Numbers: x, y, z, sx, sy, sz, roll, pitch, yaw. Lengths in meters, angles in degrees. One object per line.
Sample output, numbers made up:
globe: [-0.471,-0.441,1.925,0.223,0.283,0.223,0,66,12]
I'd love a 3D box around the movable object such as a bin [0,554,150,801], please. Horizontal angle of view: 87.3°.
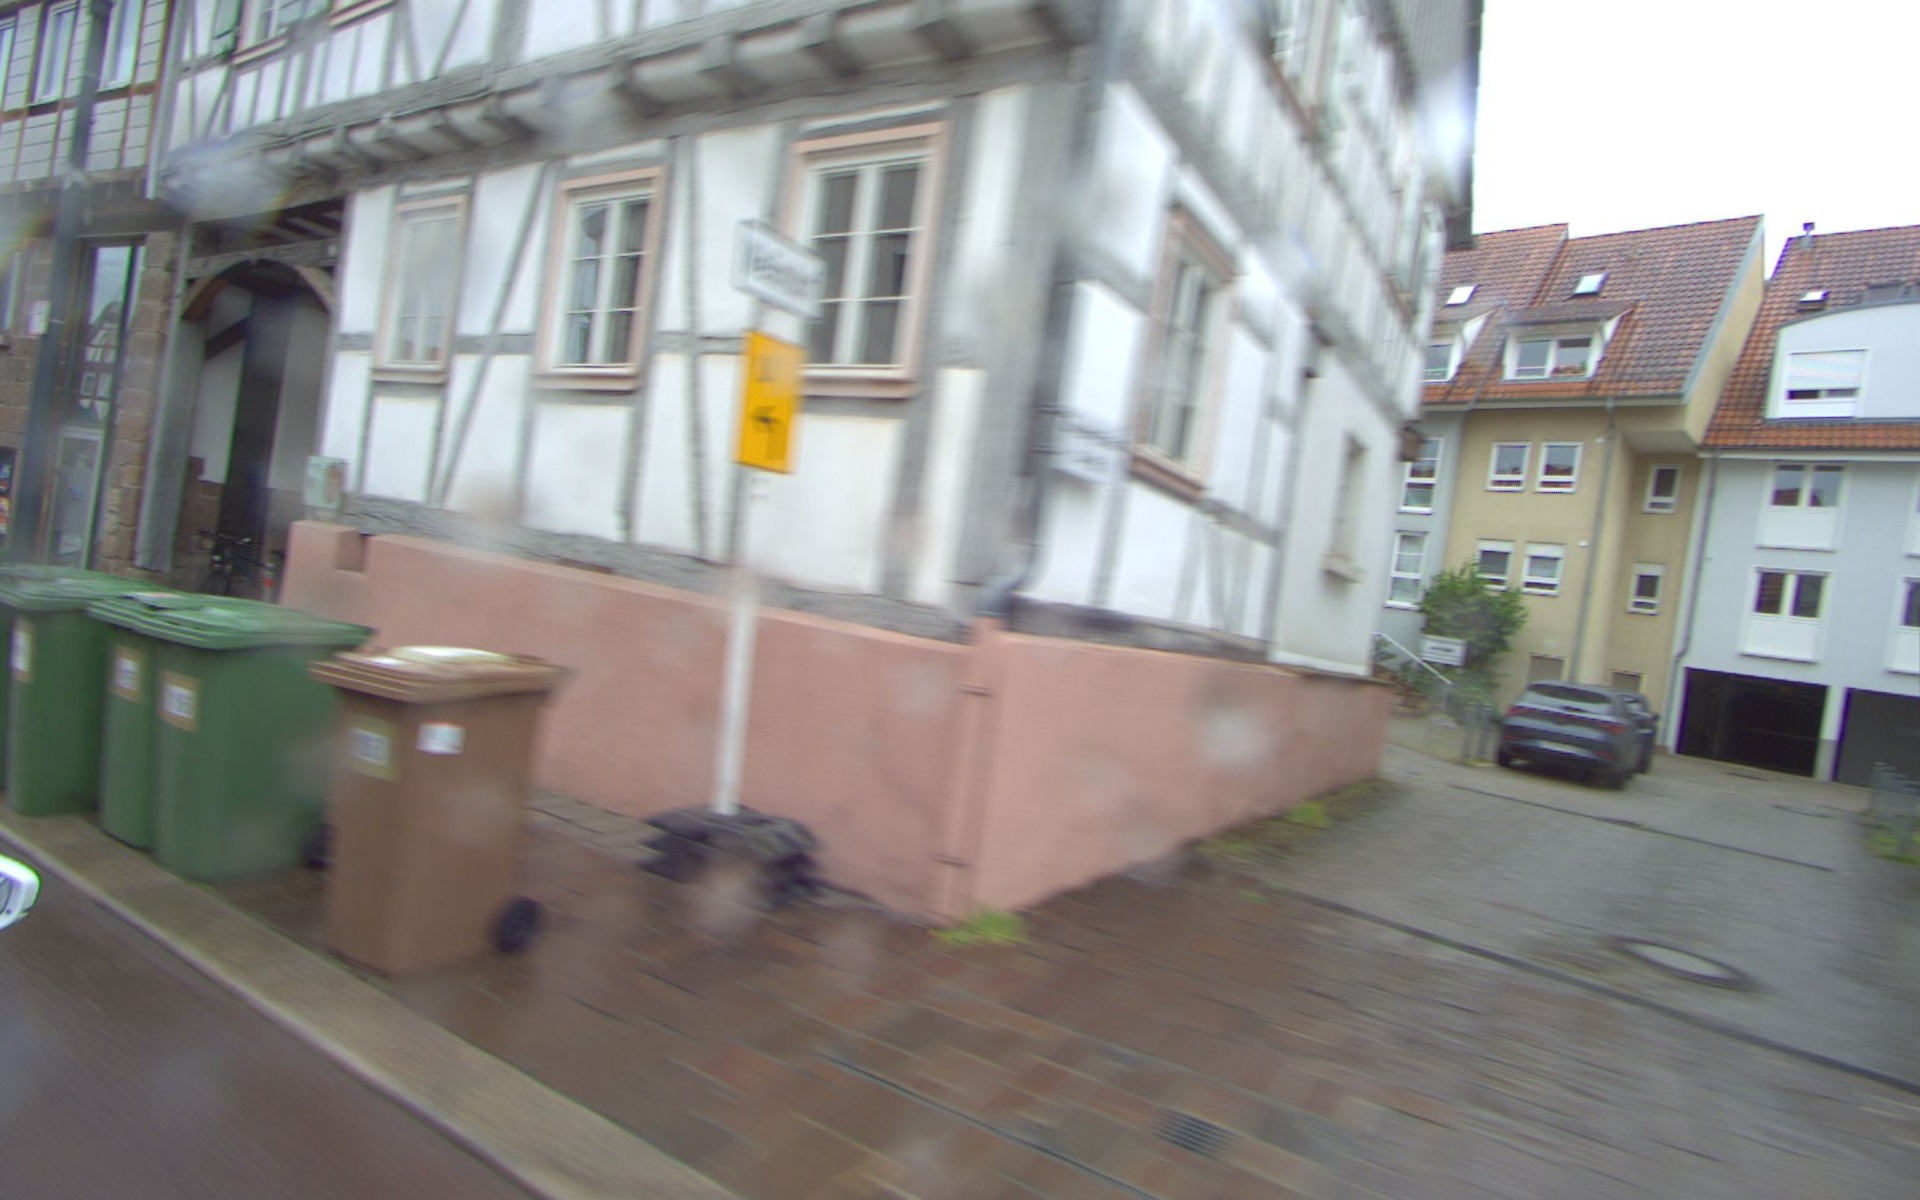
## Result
movable object such as a bin: [-4.686,0.383,5.119,0.571,1.160,0.638,7,-2,36]

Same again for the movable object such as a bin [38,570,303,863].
movable object such as a bin: [-3.572,0.507,4.576,0.621,1.160,0.639,7,-2,29]

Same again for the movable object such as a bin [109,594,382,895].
movable object such as a bin: [-2.992,0.575,4.242,0.578,1.094,0.671,6,-1,30]

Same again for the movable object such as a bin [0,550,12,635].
movable object such as a bin: [-6.606,0.198,6.390,0.589,1.140,0.610,7,-2,31]

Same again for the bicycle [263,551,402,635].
bicycle: [-7.284,-0.105,11.742,0.287,0.896,1.399,8,7,31]

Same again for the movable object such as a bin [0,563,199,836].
movable object such as a bin: [-4.181,0.460,4.783,0.594,1.160,0.638,7,-2,36]

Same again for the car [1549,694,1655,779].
car: [12.775,2.667,19.932,1.514,1.321,3.249,6,-2,35]

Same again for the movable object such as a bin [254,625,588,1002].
movable object such as a bin: [-1.903,0.708,3.602,0.639,1.109,0.680,7,-2,28]

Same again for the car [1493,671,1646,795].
car: [9.583,2.035,15.801,1.653,1.413,3.675,11,0,33]
